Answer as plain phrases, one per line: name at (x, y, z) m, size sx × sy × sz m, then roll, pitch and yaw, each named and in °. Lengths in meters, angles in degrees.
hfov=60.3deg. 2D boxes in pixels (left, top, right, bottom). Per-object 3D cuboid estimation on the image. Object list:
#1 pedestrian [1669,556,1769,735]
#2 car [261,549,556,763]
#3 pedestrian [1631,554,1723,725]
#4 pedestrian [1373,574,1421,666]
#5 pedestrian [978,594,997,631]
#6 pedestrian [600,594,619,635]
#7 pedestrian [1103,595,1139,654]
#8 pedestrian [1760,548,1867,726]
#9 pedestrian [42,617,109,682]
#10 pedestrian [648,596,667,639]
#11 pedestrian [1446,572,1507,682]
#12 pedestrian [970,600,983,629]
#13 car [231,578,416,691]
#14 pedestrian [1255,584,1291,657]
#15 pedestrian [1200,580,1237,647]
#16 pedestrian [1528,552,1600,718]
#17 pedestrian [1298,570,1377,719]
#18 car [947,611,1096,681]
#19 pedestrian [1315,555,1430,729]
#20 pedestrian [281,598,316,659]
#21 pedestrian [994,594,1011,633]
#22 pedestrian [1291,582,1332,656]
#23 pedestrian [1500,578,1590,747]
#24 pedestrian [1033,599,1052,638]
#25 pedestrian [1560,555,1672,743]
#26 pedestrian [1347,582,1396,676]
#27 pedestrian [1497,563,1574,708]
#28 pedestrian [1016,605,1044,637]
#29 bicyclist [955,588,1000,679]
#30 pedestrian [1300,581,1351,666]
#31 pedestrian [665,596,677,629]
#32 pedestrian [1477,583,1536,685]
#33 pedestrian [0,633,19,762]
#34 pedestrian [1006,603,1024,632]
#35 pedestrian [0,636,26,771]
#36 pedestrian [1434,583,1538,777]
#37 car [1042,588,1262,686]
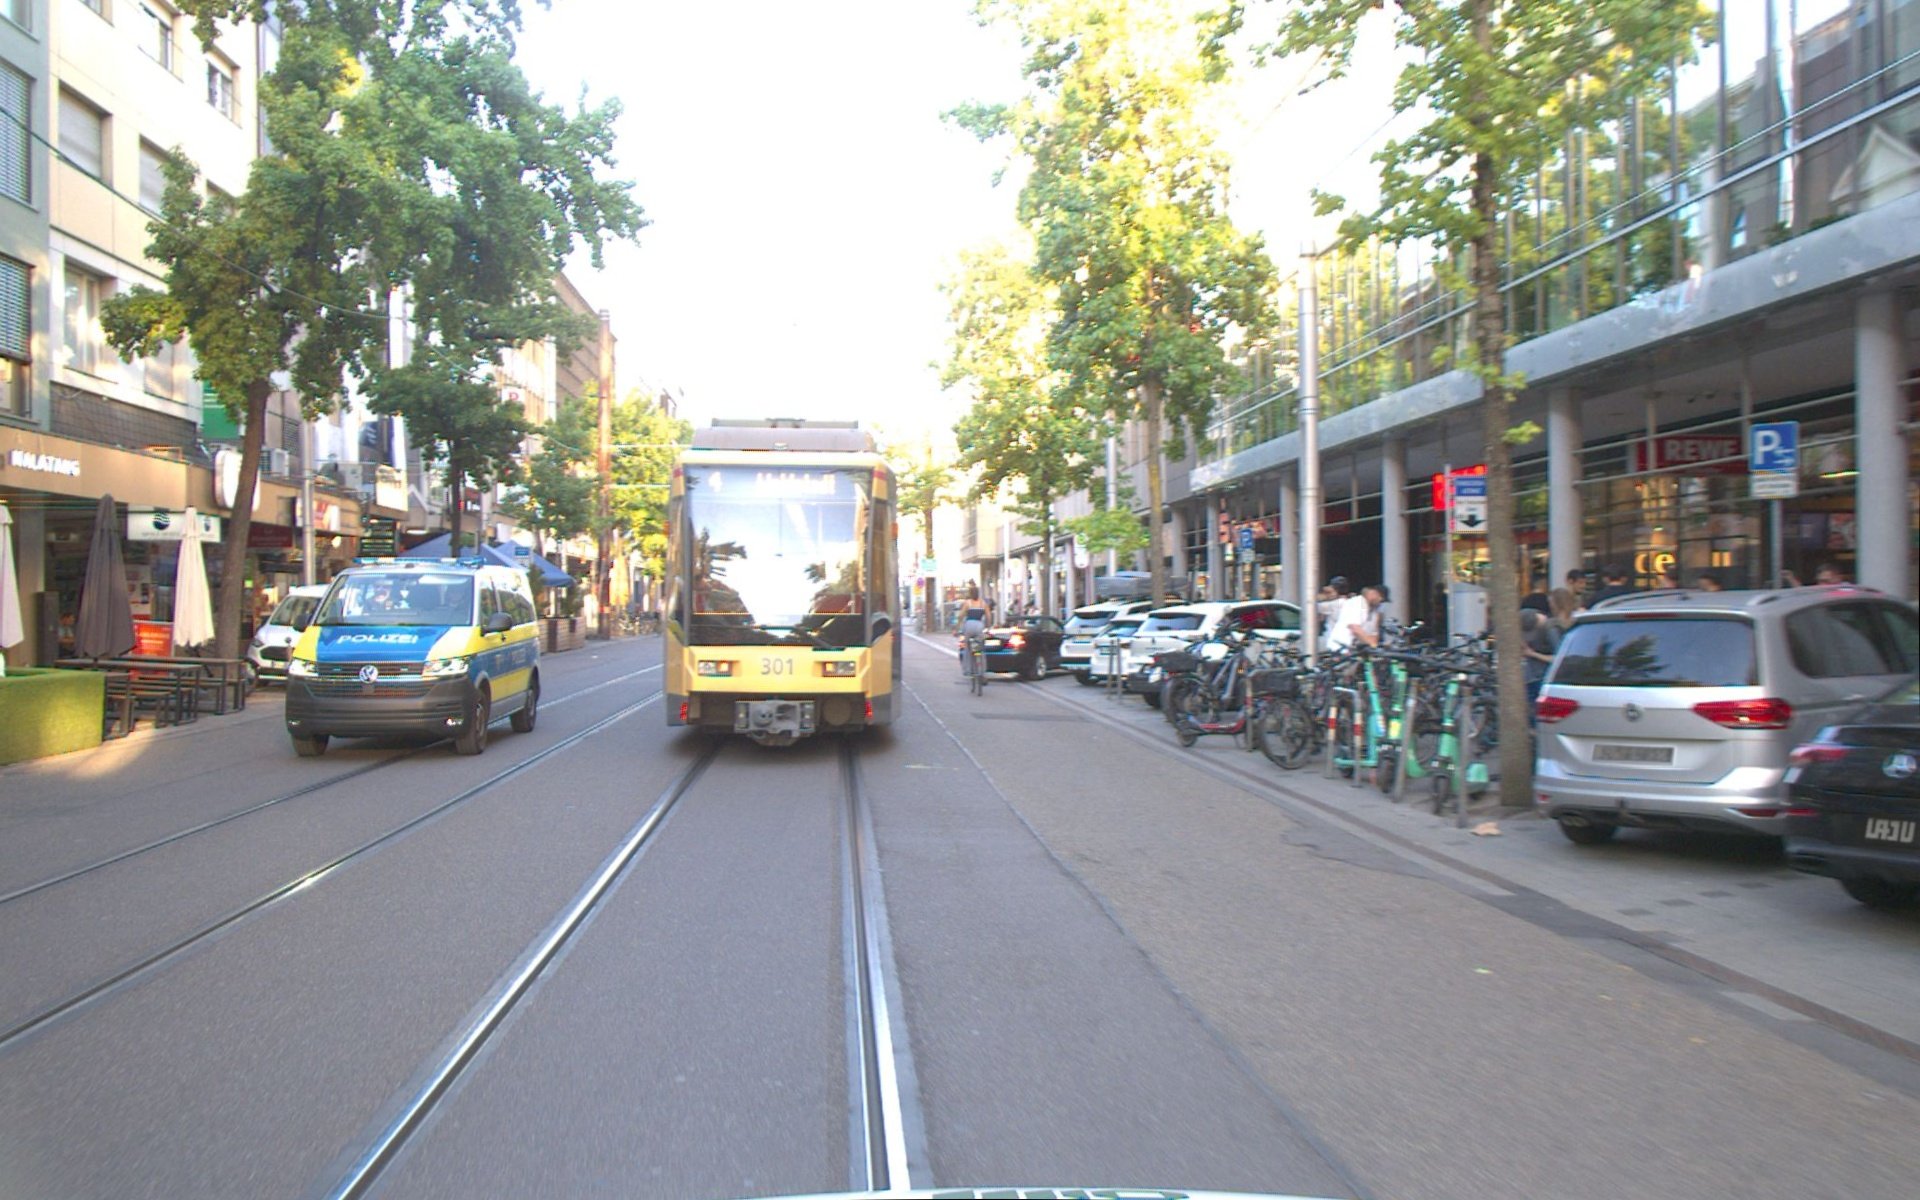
pedestrian at (7.838, 0.460, 17.103) m, size 0.714 × 1.784 × 0.717 m, roll -2°, pitch 0°, yaw 9°
car at (-5.806, 0.528, 18.072) m, size 1.954 × 2.011 × 4.845 m, roll 0°, pitch 0°, yaw -5°
pedestrian at (7.985, 0.432, 18.444) m, size 0.644 × 1.844 × 0.717 m, roll -2°, pitch 0°, yaw 0°
pedestrian at (8.318, 0.379, 31.528) m, size 0.649 × 1.729 × 0.804 m, roll 0°, pitch -1°, yaw -5°
pedestrian at (1.353, 0.637, 81.268) m, size 0.871 × 1.813 × 0.750 m, roll 0°, pitch -1°, yaw -7°
pedestrian at (-17.642, 0.735, 83.253) m, size 0.832 × 2.049 × 0.920 m, roll 0°, pitch -1°, yaw -5°
pedestrian at (4.546, 0.688, 46.815) m, size 0.860 × 1.609 × 0.754 m, roll 1°, pitch 0°, yaw -6°
pedestrian at (7.873, 0.340, 15.278) m, size 0.744 × 1.599 × 0.632 m, roll -1°, pitch -1°, yaw 18°
pedestrian at (-15.760, 0.872, 29.473) m, size 0.762 × 1.114 × 0.728 m, roll 3°, pitch -1°, yaw -5°
pedestrian at (-13.549, 0.794, 74.089) m, size 0.737 × 1.913 × 0.574 m, roll 2°, pitch -2°, yaw -9°
pedestrian at (8.247, 0.421, 26.435) m, size 0.666 × 1.729 × 0.805 m, roll 0°, pitch 1°, yaw -5°
pedestrian at (0.988, 0.870, 100.829) m, size 0.687 × 1.714 × 0.680 m, roll -2°, pitch 1°, yaw -5°
car at (-11.397, 0.622, 29.955) m, size 1.758 × 1.850 × 4.513 m, roll 1°, pitch -1°, yaw -3°
pedestrian at (7.275, 0.467, 38.494) m, size 0.584 × 1.644 × 0.754 m, roll -2°, pitch 1°, yaw -5°
pedestrian at (7.353, 0.379, 47.090) m, size 0.816 × 1.868 × 0.943 m, roll -1°, pitch 1°, yaw -5°
pedestrian at (6.886, 0.394, 18.843) m, size 0.645 × 1.844 × 0.716 m, roll -2°, pitch 0°, yaw 25°
pedestrian at (4.881, 0.565, 21.378) m, size 0.812 × 1.844 × 0.591 m, roll -4°, pitch 2°, yaw -43°
car at (1.415, 0.970, 36.297) m, size 1.765 × 1.372 × 4.444 m, roll -1°, pitch 0°, yaw 24°
pedestrian at (4.853, 0.470, 19.485) m, size 0.934 × 1.947 × 0.859 m, roll -3°, pitch 1°, yaw -16°
pedestrian at (-16.258, 0.697, 40.654) m, size 0.597 × 1.459 × 0.511 m, roll 3°, pitch -1°, yaw -2°
pedestrian at (2.012, 0.633, 78.112) m, size 0.734 × 1.813 × 0.890 m, roll 0°, pitch -1°, yaw -2°
pedestrian at (8.089, 0.428, 38.091) m, size 0.584 × 1.644 × 1.020 m, roll -2°, pitch 1°, yaw -5°
pedestrian at (5.916, 0.622, 16.720) m, size 0.690 × 1.653 × 0.659 m, roll -2°, pitch 0°, yaw 30°
pedestrian at (3.554, 0.805, 71.538) m, size 0.687 × 1.666 × 0.645 m, roll -2°, pitch 1°, yaw -5°
pedestrian at (6.669, 0.480, 16.797) m, size 0.868 × 1.844 × 0.935 m, roll -2°, pitch 0°, yaw 30°
pedestrian at (7.650, 0.542, 30.778) m, size 0.666 × 1.729 × 0.804 m, roll 0°, pitch -1°, yaw -5°
pedestrian at (7.508, 0.462, 21.566) m, size 0.775 × 1.844 × 0.659 m, roll -2°, pitch 0°, yaw 30°
pedestrian at (3.085, 0.928, 72.857) m, size 1.090 × 1.351 × 0.925 m, roll -2°, pitch 0°, yaw -4°
bicyclist at (0.303, 0.586, 29.051) m, size 0.712 × 1.553 × 0.733 m, roll 1°, pitch -1°, yaw -5°
pedestrian at (8.035, 0.500, 36.352) m, size 0.860 × 1.813 × 0.754 m, roll -2°, pitch 1°, yaw -6°
pedestrian at (-15.265, 0.672, 87.408) m, size 0.541 × 1.716 × 0.574 m, roll 2°, pitch -2°, yaw -9°
pedestrian at (8.578, 0.531, 25.968) m, size 0.666 × 1.575 × 0.664 m, roll 0°, pitch -1°, yaw -5°
pedestrian at (-9.860, 0.970, 16.536) m, size 0.540 × 1.288 × 0.641 m, roll 0°, pitch -1°, yaw -4°
pedestrian at (2.610, 0.834, 78.410) m, size 0.725 × 1.351 × 0.720 m, roll -2°, pitch 1°, yaw -4°
pedestrian at (-10.318, 1.087, 17.483) m, size 0.568 × 1.402 × 0.564 m, roll 0°, pitch -1°, yaw -4°
pedestrian at (4.660, 0.694, 14.691) m, size 0.773 × 1.654 × 0.770 m, roll -2°, pitch 0°, yaw 14°
car at (3.866, 0.702, 33.000) m, size 4.163 × 1.666 × 1.896 m, roll -3°, pitch 1°, yaw -37°
